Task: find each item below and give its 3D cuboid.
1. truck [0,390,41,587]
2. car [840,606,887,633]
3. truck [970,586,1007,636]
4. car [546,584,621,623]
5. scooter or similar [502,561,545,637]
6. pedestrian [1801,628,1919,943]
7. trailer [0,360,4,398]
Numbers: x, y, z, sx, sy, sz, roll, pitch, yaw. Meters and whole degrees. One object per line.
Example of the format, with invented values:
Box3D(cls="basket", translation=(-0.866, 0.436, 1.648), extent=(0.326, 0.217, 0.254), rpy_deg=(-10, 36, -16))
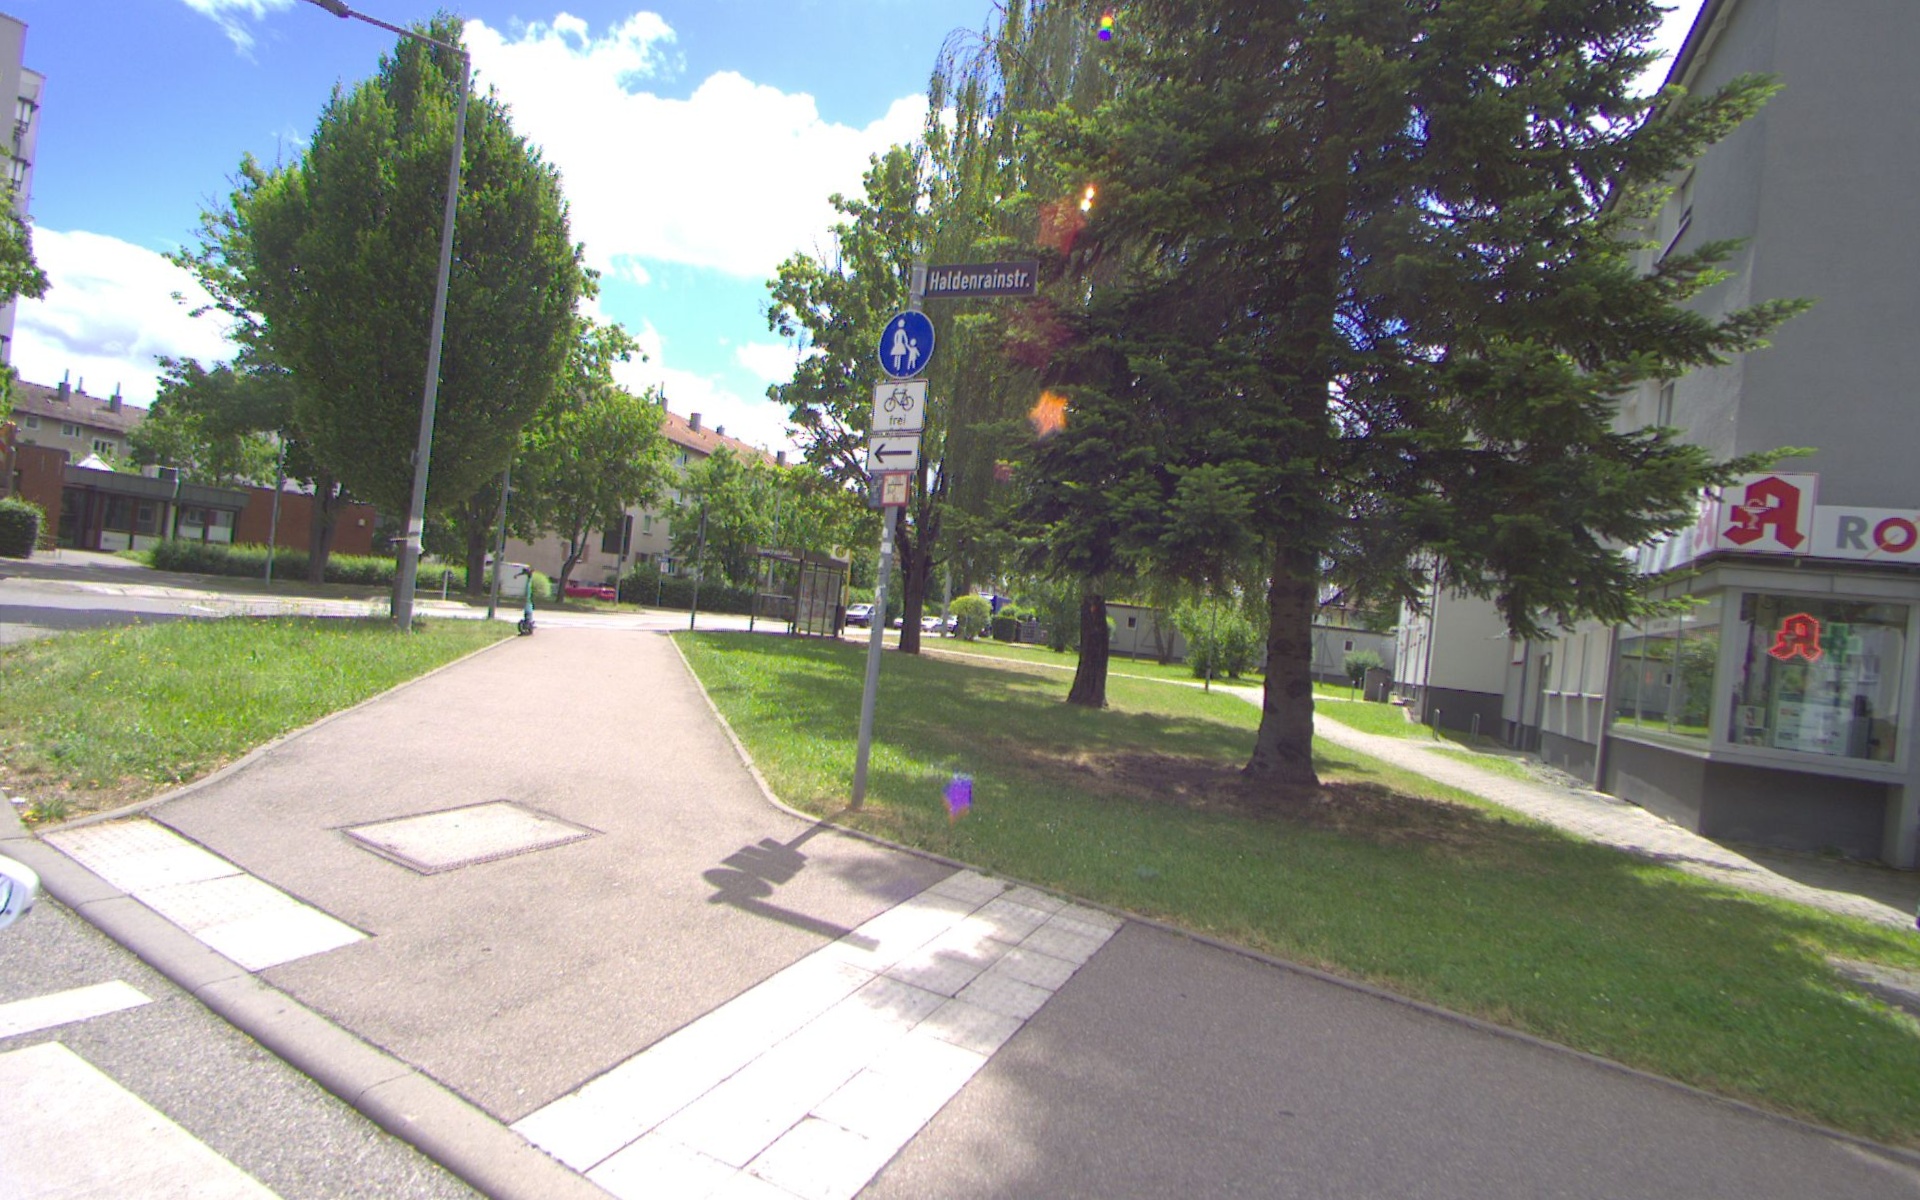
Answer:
Box3D(cls="truck", translation=(-19.395, -2.086, 17.177), extent=(8.347, 3.068, 2.994), rpy_deg=(3, -4, 31))
Box3D(cls="car", translation=(-7.054, 1.477, 74.002), extent=(1.962, 1.570, 4.006), rpy_deg=(6, -3, 15))
Box3D(cls="truck", translation=(2.829, 1.173, 96.274), extent=(2.736, 4.201, 9.807), rpy_deg=(6, -2, 4))
Box3D(cls="car", translation=(-23.969, 0.219, 64.055), extent=(3.926, 1.964, 2.020), rpy_deg=(6, -2, 20))
Box3D(cls="scooter or similar", translation=(-8.299, -0.041, 19.156), extent=(0.478, 1.360, 1.383), rpy_deg=(5, 1, -17))
Box3D(cls="pedestrian", translation=(6.630, 1.271, 6.882), extent=(1.028, 2.039, 0.655), rpy_deg=(6, 0, 23))
Box3D(cls="trailer", translation=(-12.508, -1.777, 10.431), extent=(2.854, 3.411, 10.719), rpy_deg=(9, -2, -40))
